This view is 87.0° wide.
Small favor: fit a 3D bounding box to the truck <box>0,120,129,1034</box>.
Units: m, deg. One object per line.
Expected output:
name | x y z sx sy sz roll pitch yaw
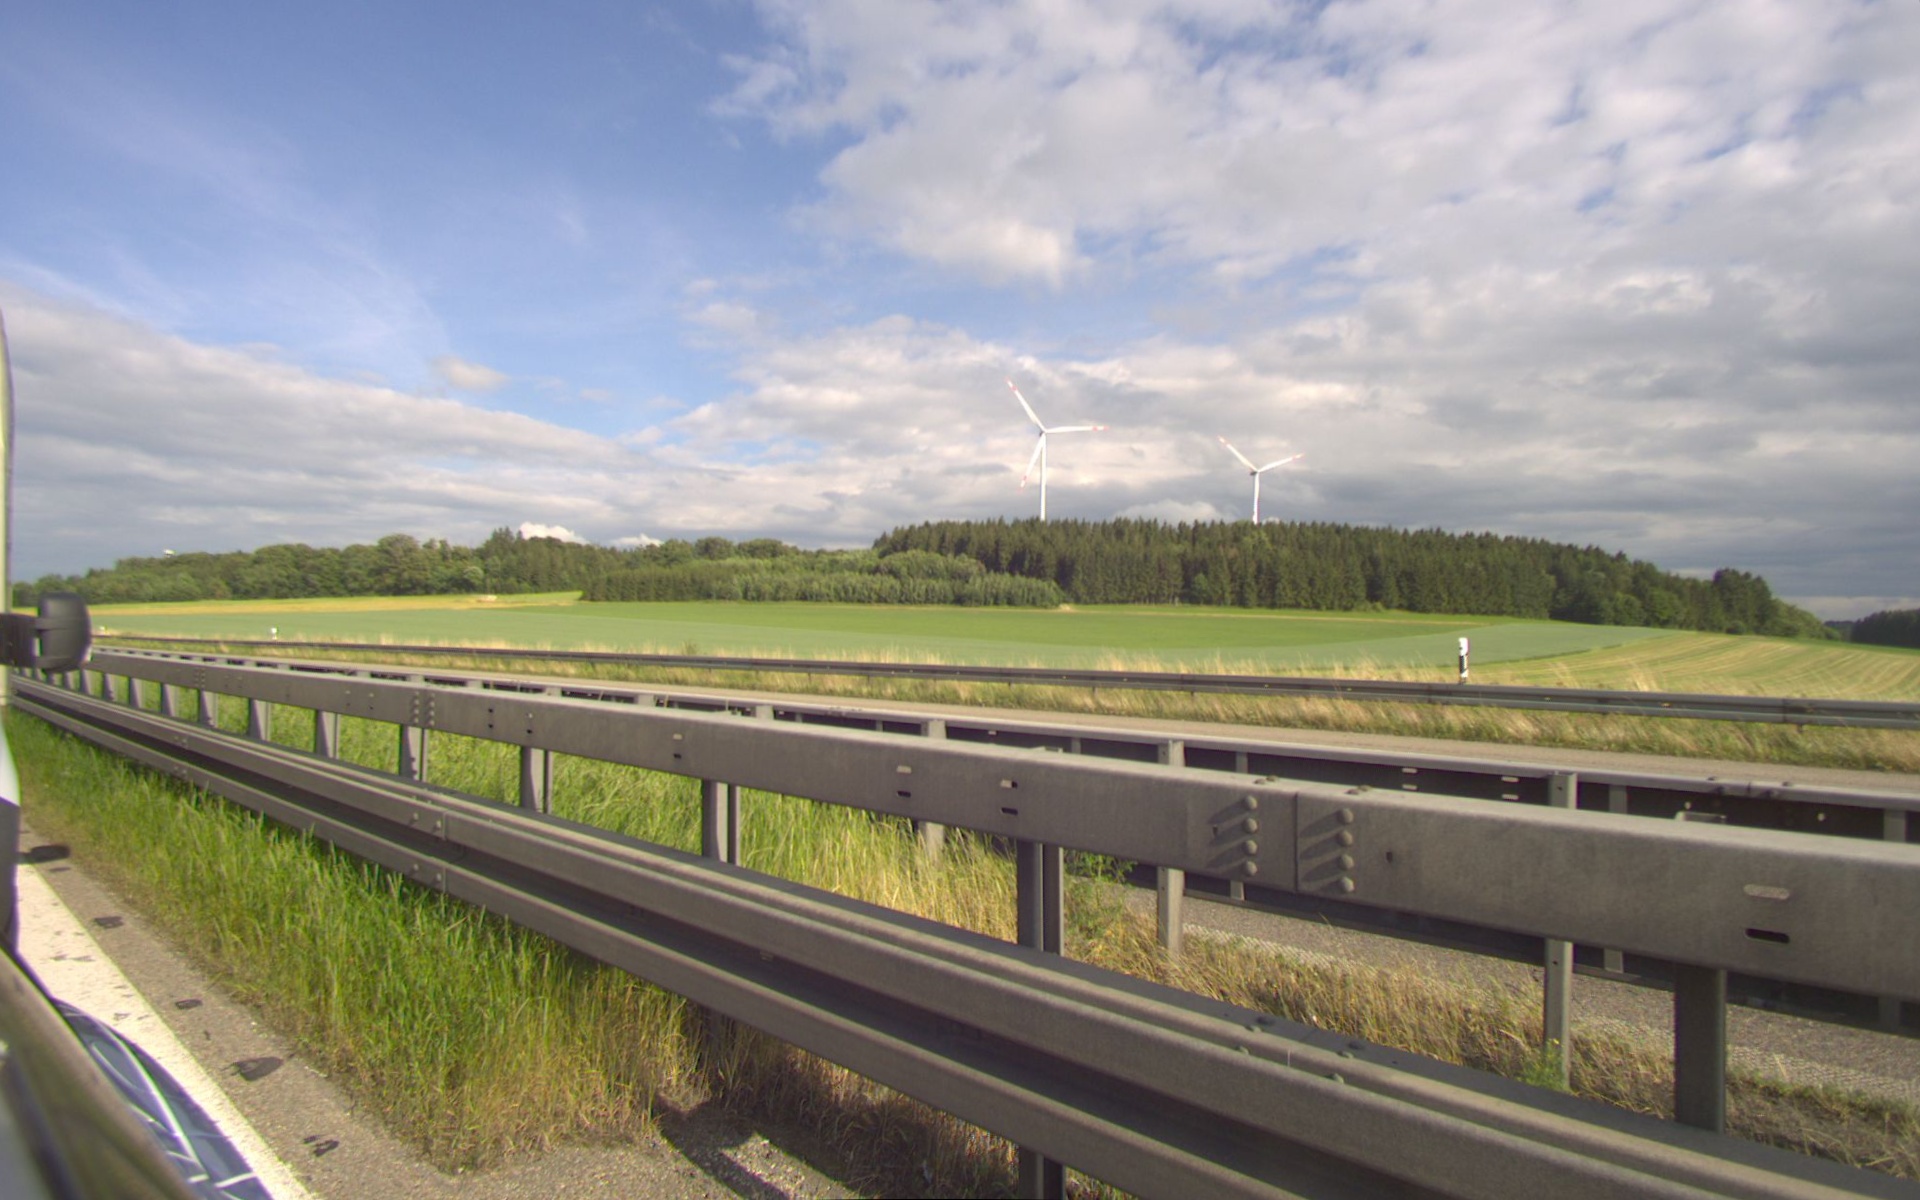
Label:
truck | -8.149 0.031 6.458 11.155 3.183 2.470 -2 -2 40
